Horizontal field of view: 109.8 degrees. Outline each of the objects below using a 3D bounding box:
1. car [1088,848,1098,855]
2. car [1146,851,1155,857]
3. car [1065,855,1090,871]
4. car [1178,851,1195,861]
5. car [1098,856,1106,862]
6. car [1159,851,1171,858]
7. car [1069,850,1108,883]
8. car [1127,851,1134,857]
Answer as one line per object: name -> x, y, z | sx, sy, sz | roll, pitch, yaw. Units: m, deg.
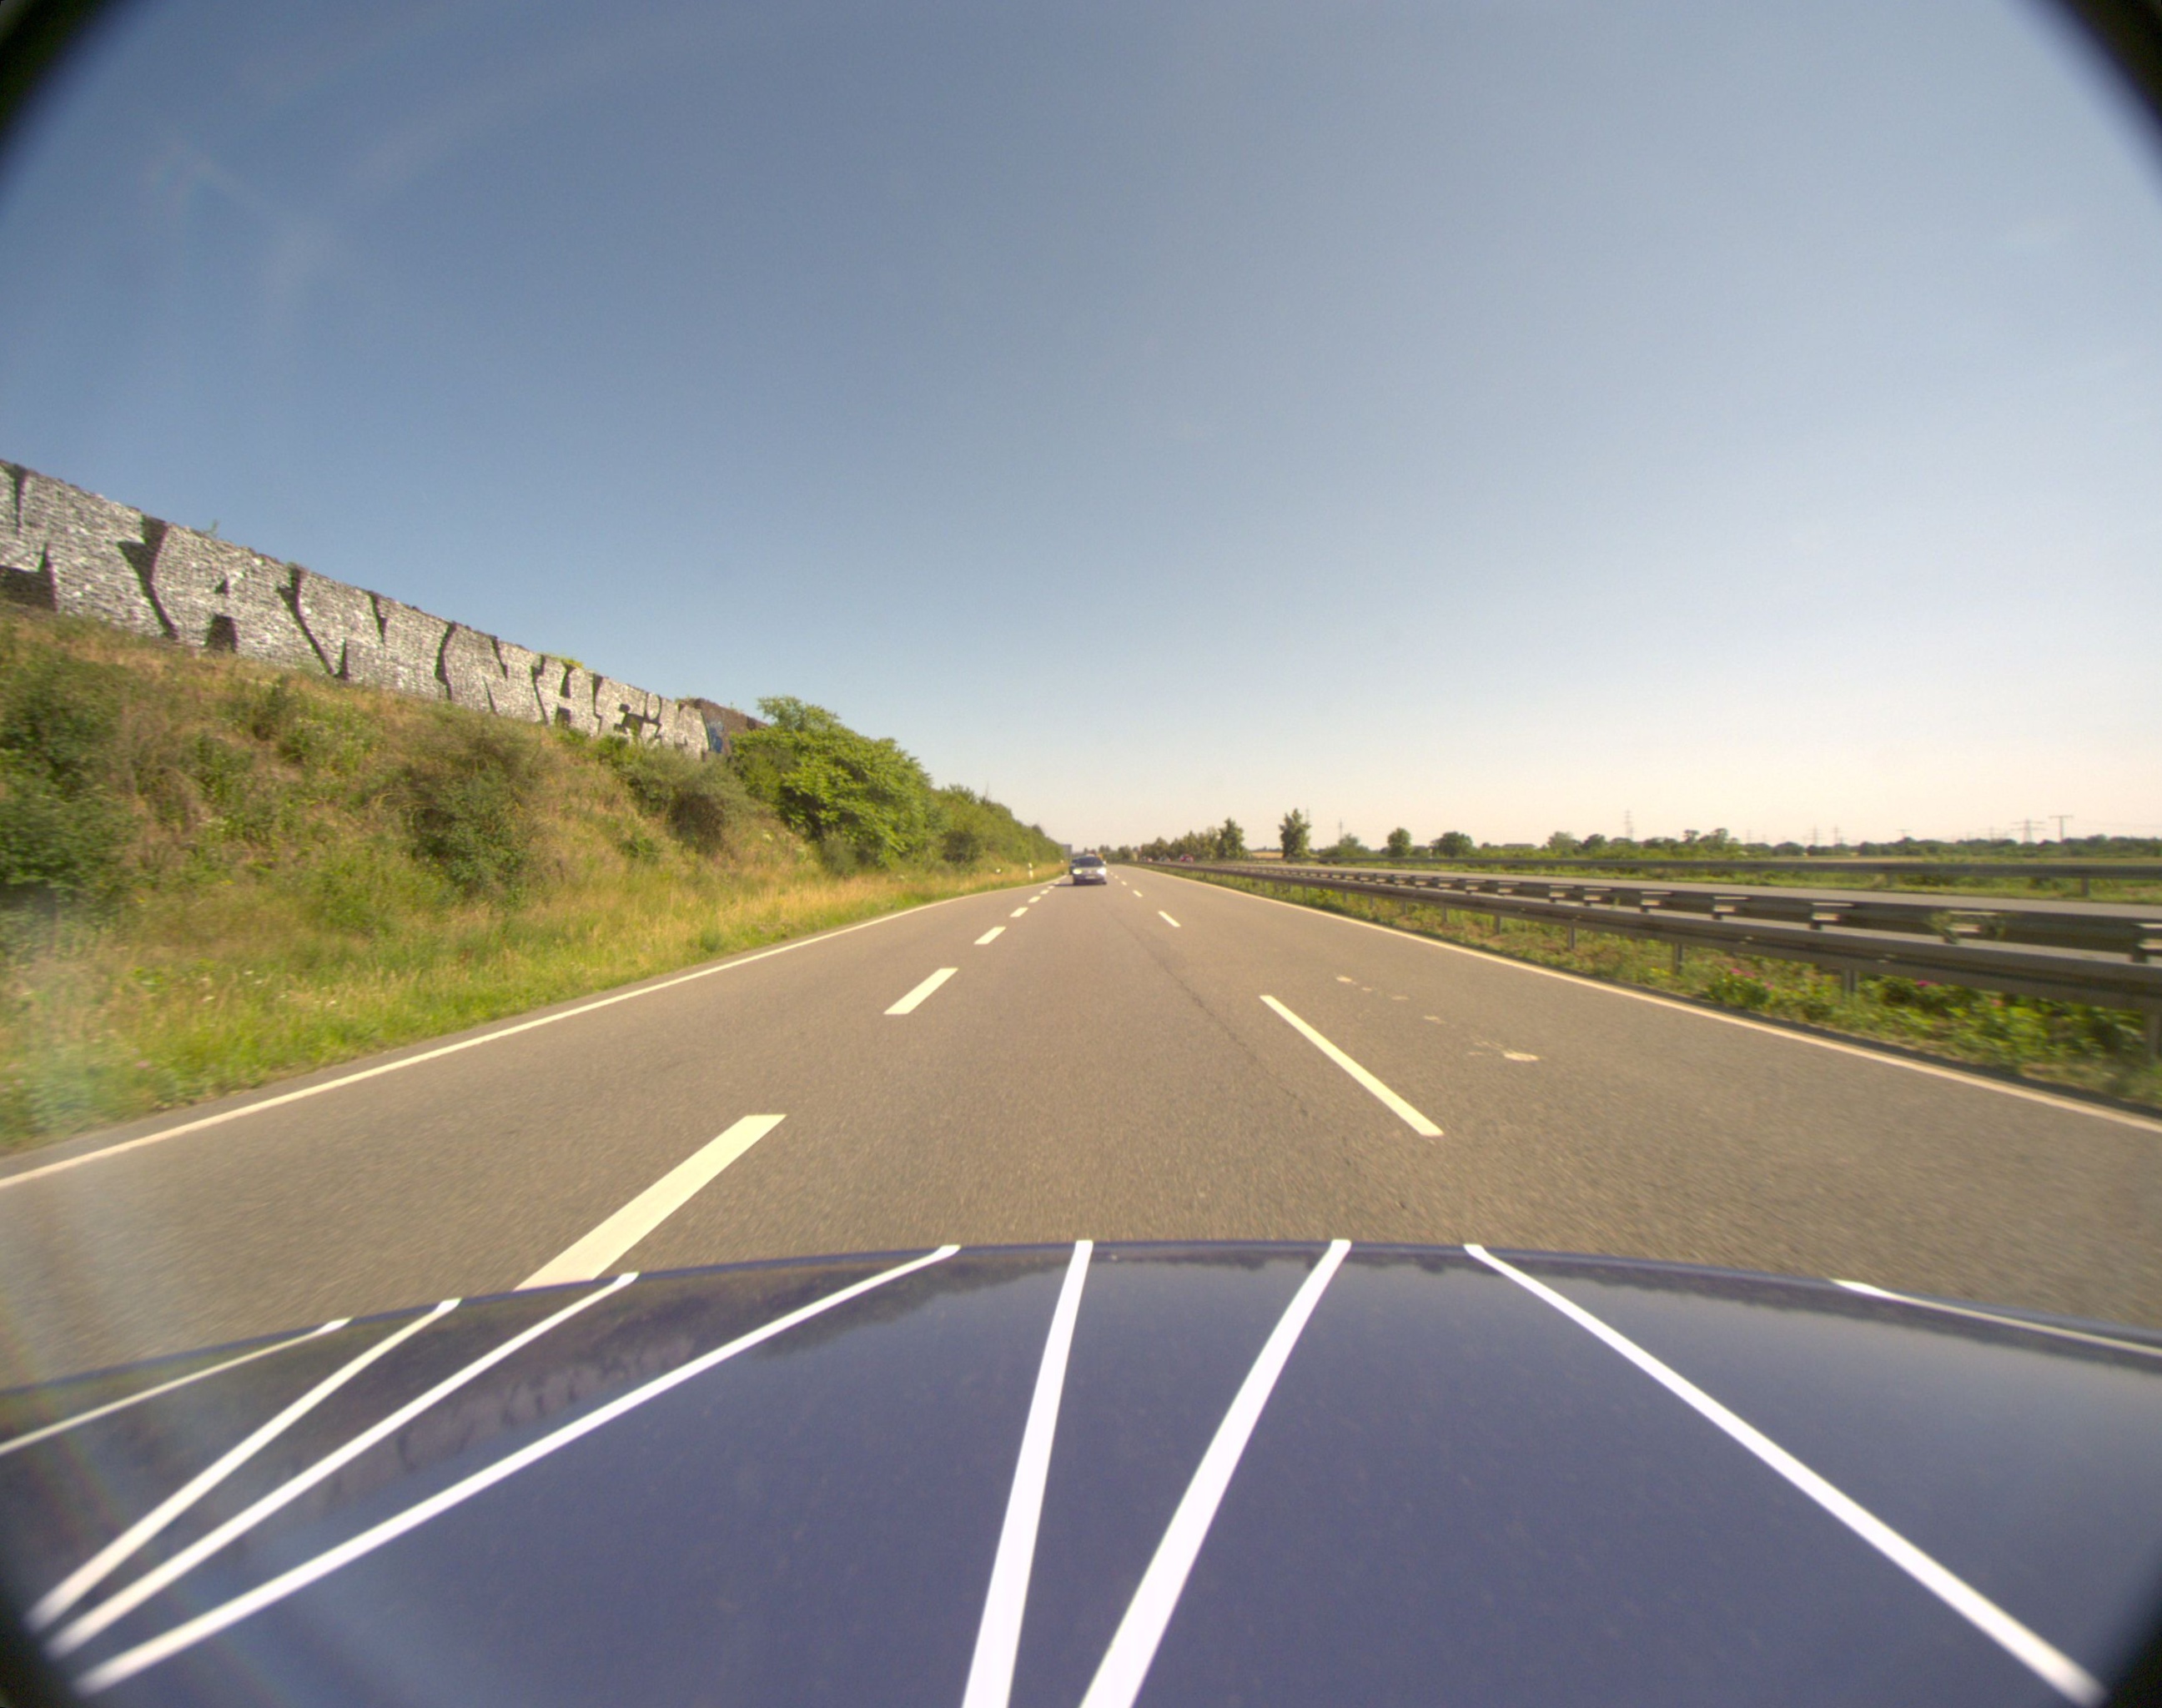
car -> 2.319, -0.476, 145.065 | 1.790, 1.212, 3.999 | -2, 1, 0
car -> 17.201, 0.069, 187.701 | 1.826, 1.388, 4.415 | -4, 0, 1
car -> -0.295, 0.764, 67.531 | 1.854, 1.212, 4.001 | -2, 1, 4
car -> 16.245, 0.299, 117.323 | 1.872, 1.426, 4.935 | -3, 0, 0
car -> 5.863, 1.459, 212.234 | 1.790, 1.659, 3.999 | -2, 1, -1
car -> 16.199, 0.103, 146.343 | 1.717, 1.442, 4.323 | -2, 0, 0
car -> 0.466, 0.647, 41.508 | 1.854, 1.635, 4.001 | -2, 1, 4
car -> 13.934, 0.071, 215.507 | 1.717, 1.461, 4.415 | -4, 0, 1
